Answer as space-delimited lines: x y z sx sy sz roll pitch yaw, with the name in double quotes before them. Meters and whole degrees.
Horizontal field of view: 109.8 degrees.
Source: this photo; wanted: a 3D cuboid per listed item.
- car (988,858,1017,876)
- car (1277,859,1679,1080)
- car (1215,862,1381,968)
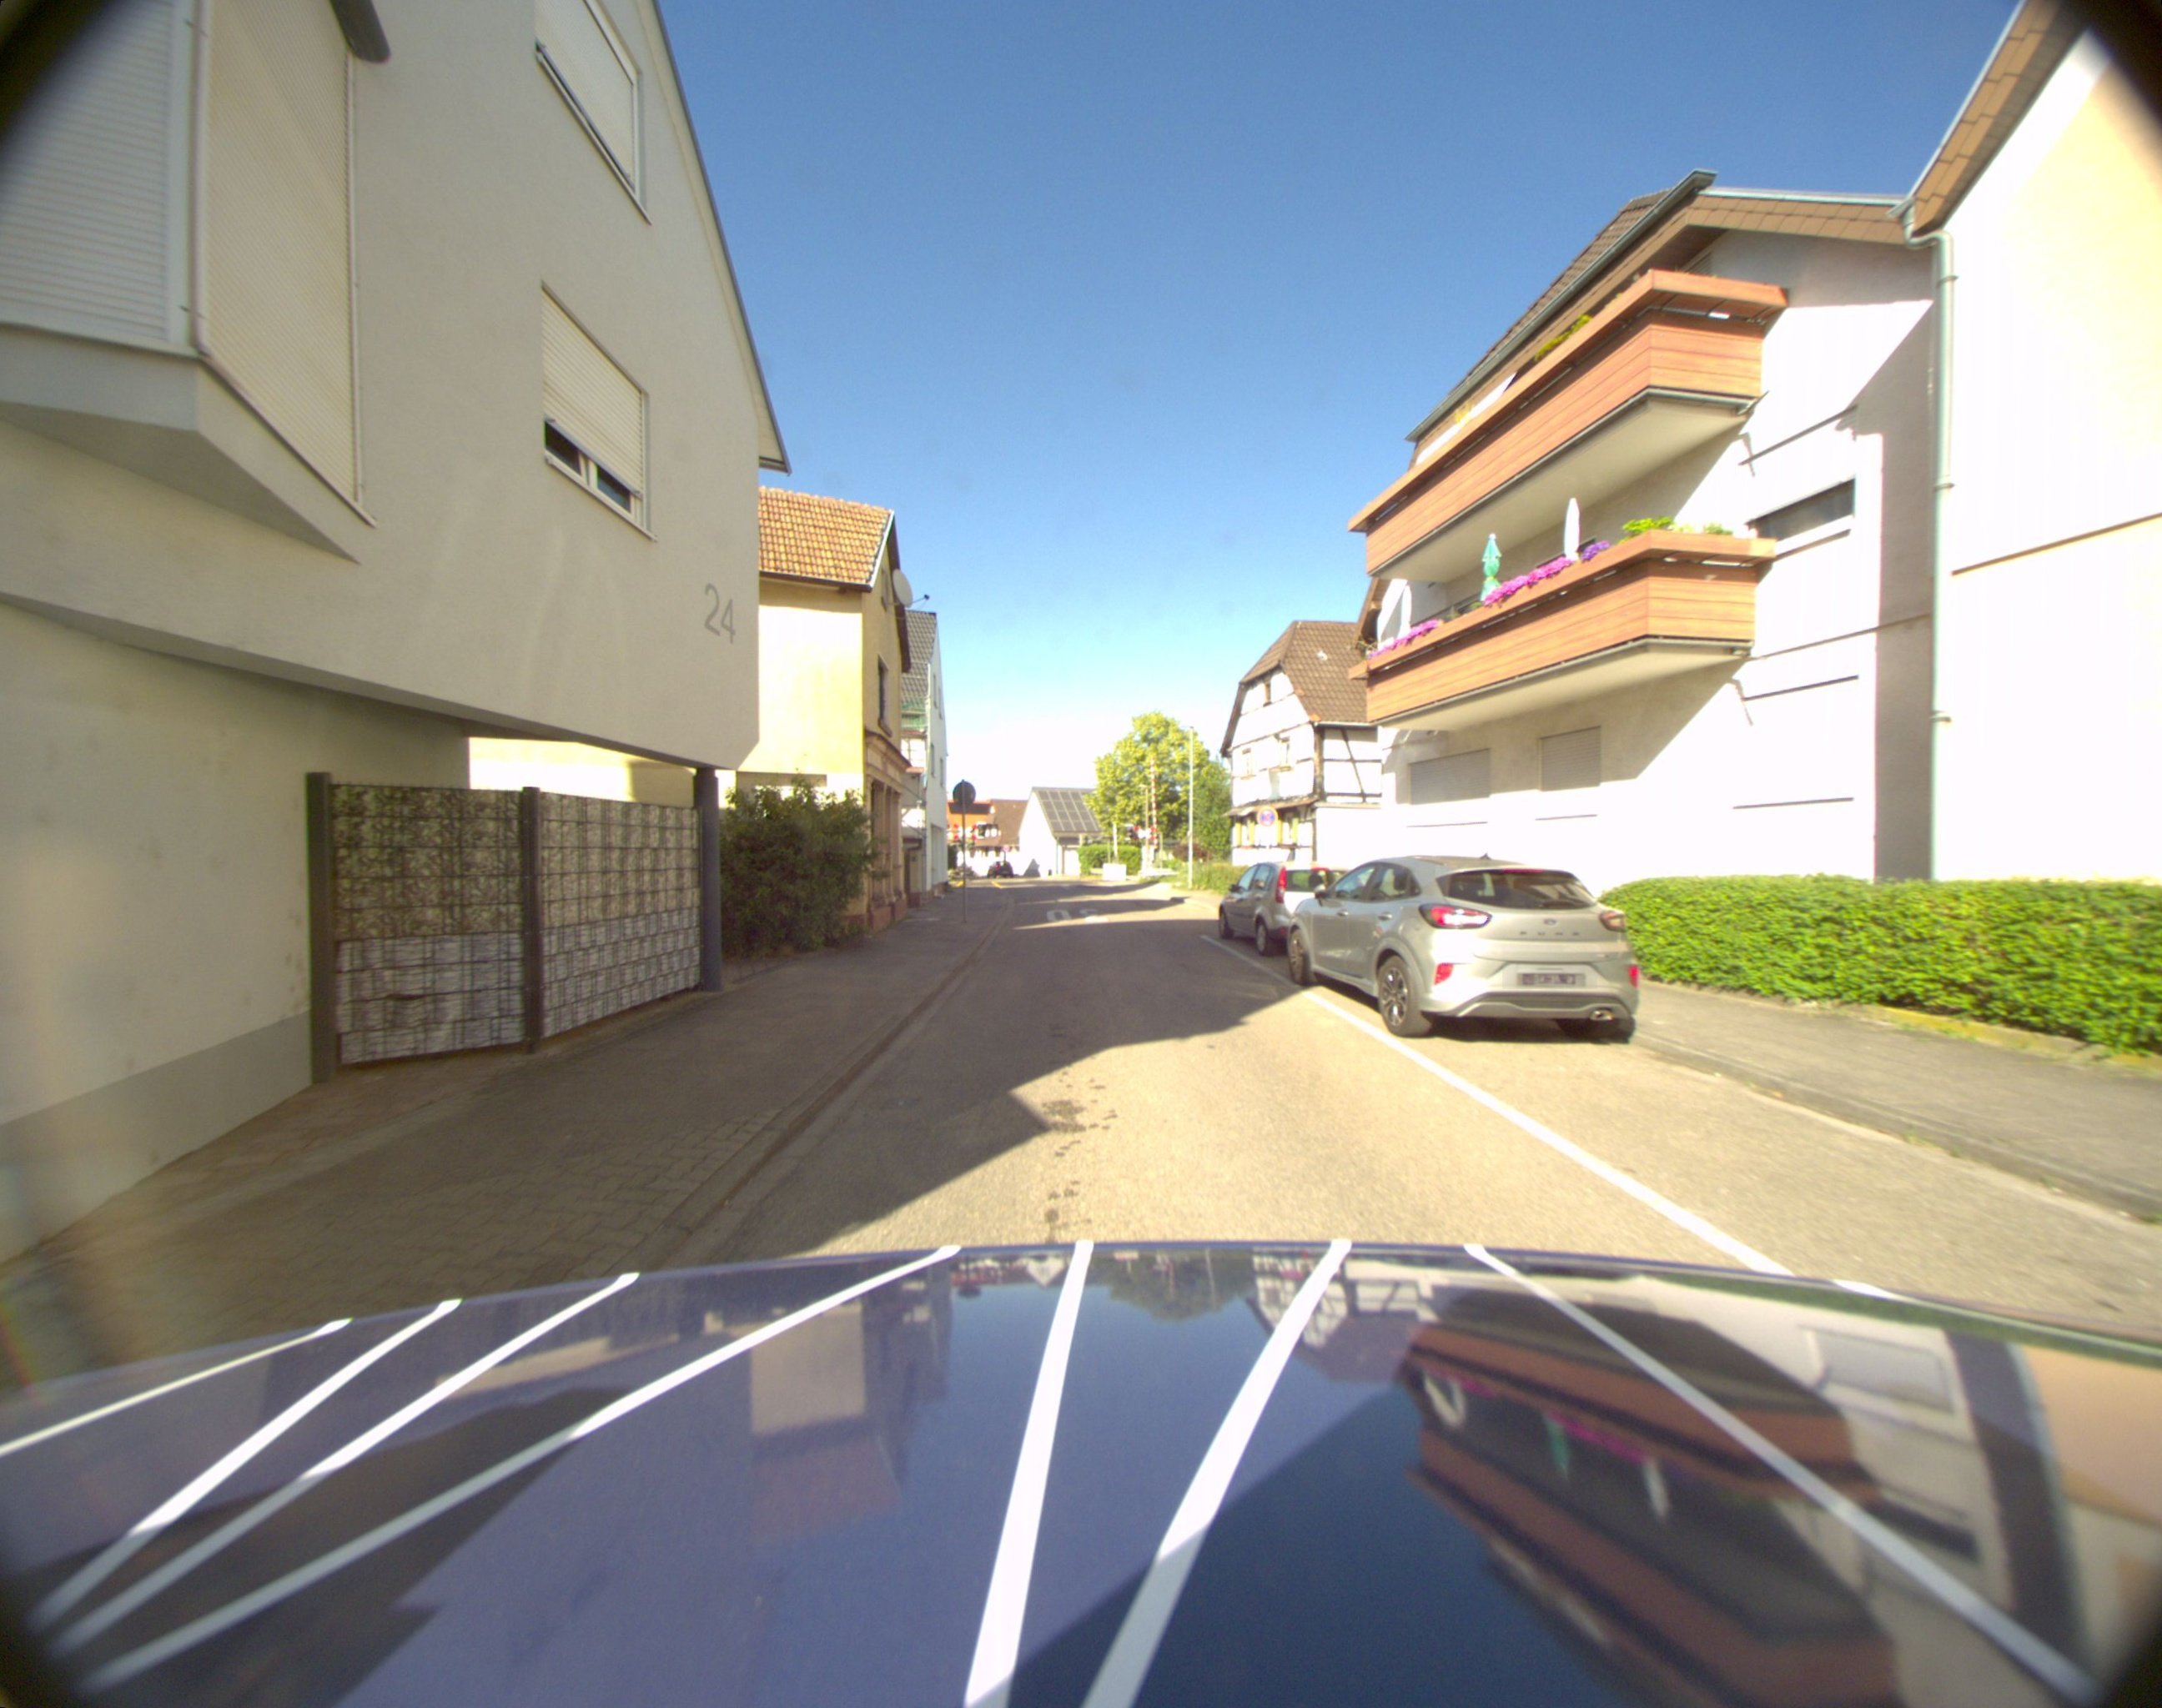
"car" -6.700 1.059 64.276 1.549 1.450 3.709 -1 0 -20
"car" 3.364 0.843 7.436 1.763 1.547 3.999 0 0 -1
"car" 3.390 0.880 12.533 1.628 1.468 3.615 0 0 -1
